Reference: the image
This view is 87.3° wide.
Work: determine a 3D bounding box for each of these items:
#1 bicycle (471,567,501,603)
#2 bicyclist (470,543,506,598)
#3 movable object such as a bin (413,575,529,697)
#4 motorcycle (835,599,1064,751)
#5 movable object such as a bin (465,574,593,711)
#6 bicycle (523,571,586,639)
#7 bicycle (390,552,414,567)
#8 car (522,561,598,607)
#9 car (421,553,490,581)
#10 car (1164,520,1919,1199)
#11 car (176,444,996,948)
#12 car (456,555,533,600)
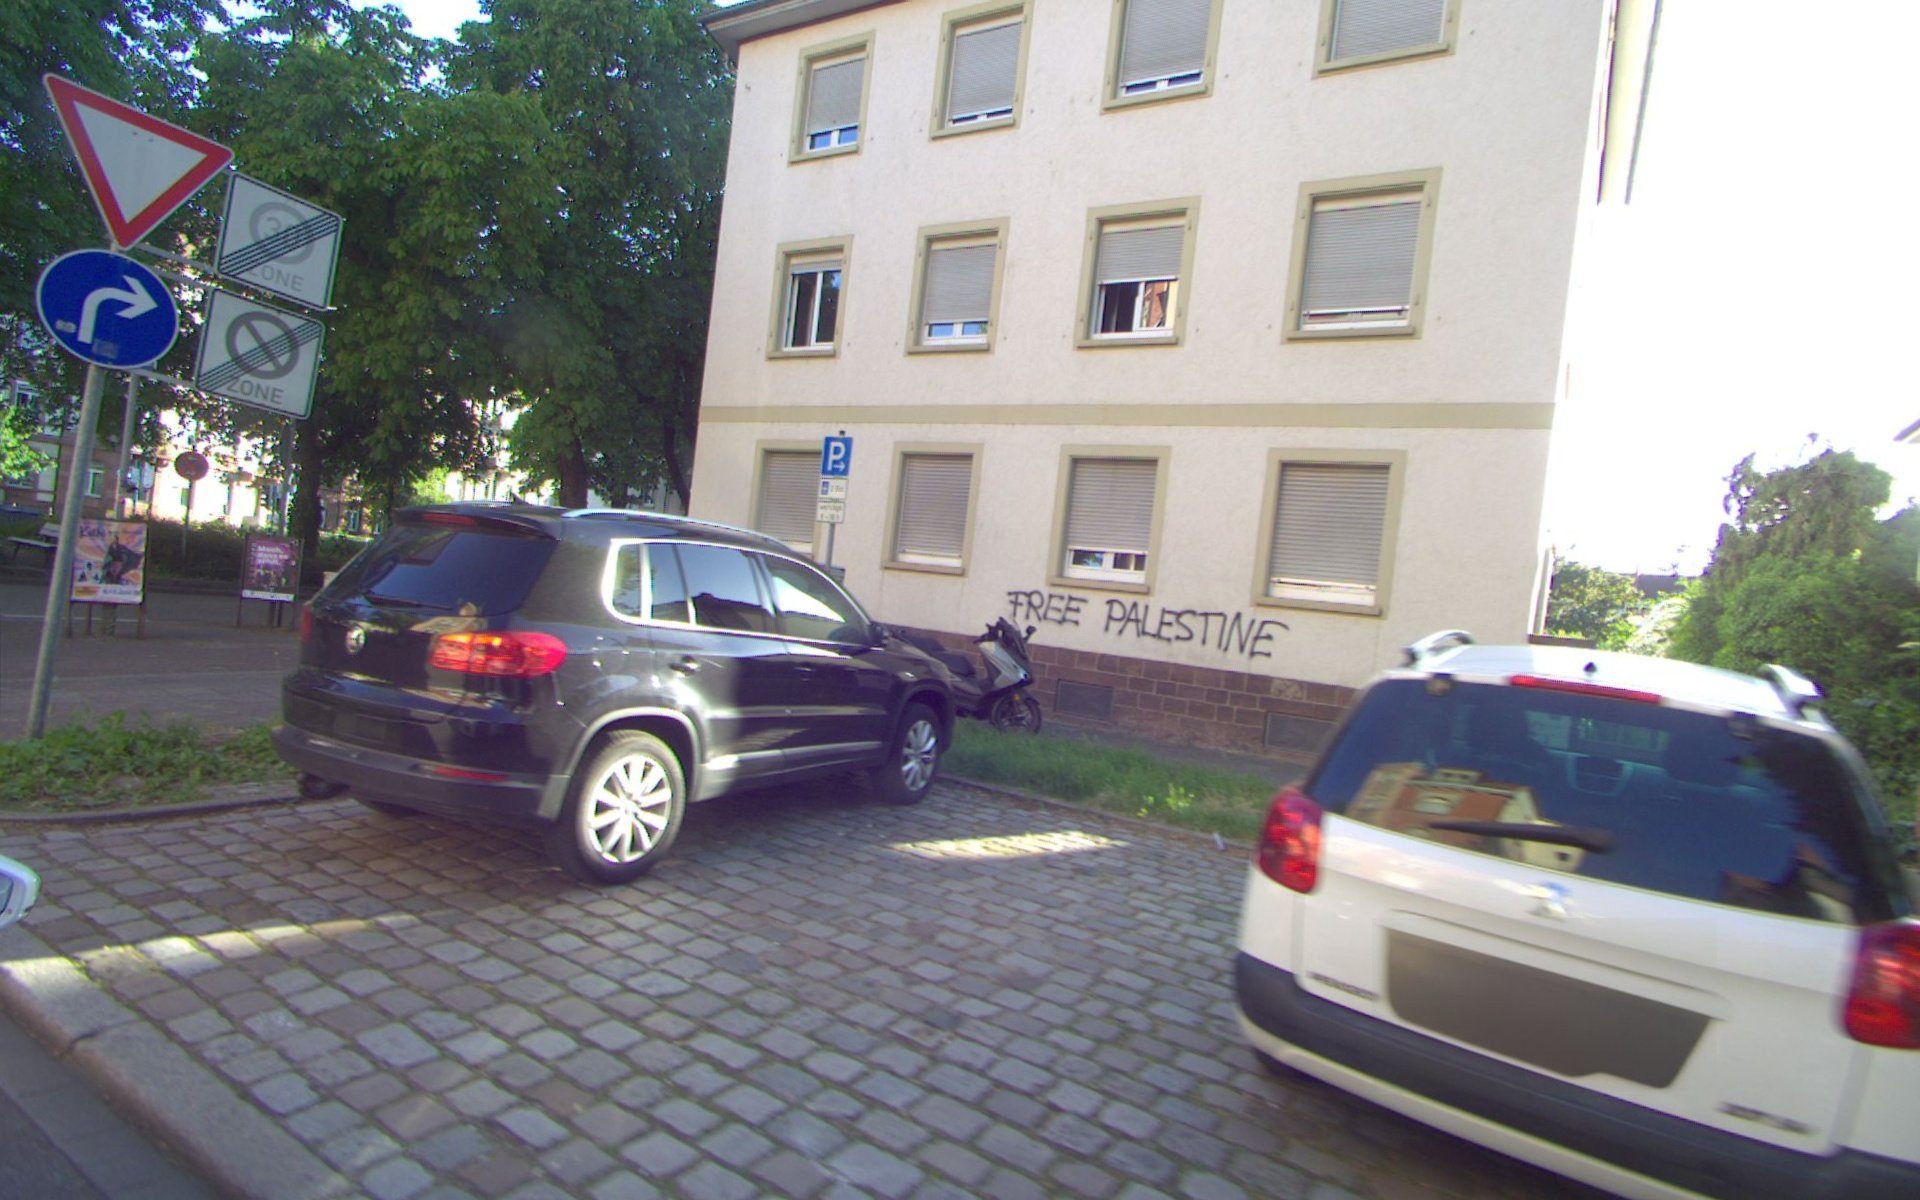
[{"bbox_3d":[-17.607,-0.568,37.320,0.594,1.176,2.023,7,0,-34],"label":"bicycle"},{"bbox_3d":[-17.563,-1.088,37.439,0.846,1.922,1.128,6,1,-37],"label":"bicyclist"},{"bbox_3d":[-4.755,0.357,9.787,0.683,1.077,0.657,7,0,32],"label":"movable object such as a bin"},{"bbox_3d":[-0.108,0.772,10.887,2.143,1.296,0.978,7,1,23],"label":"motorcycle"},{"bbox_3d":[-4.025,0.403,9.417,0.690,1.167,0.738,7,0,32],"label":"movable object such as a bin"},{"bbox_3d":[-7.848,0.094,19.538,0.545,1.197,1.789,7,0,-6],"label":"bicycle"},{"bbox_3d":[-40.463,-2.944,72.913,0.442,0.872,1.445,7,-1,27],"label":"bicycle"},{"bbox_3d":[-17.415,-0.730,43.722,1.883,1.597,3.958,7,-1,-38],"label":"car"},{"bbox_3d":[-35.492,-2.303,70.931,1.962,1.516,4.374,7,1,12],"label":"car"},{"bbox_3d":[2.384,0.837,3.829,1.677,1.671,3.695,7,-1,35],"label":"car"},{"bbox_3d":[-1.642,0.377,5.891,1.988,1.734,4.113,8,1,27],"label":"car"},{"bbox_3d":[-19.081,-0.939,41.177,1.804,1.563,3.915,5,0,-40],"label":"car"}]
